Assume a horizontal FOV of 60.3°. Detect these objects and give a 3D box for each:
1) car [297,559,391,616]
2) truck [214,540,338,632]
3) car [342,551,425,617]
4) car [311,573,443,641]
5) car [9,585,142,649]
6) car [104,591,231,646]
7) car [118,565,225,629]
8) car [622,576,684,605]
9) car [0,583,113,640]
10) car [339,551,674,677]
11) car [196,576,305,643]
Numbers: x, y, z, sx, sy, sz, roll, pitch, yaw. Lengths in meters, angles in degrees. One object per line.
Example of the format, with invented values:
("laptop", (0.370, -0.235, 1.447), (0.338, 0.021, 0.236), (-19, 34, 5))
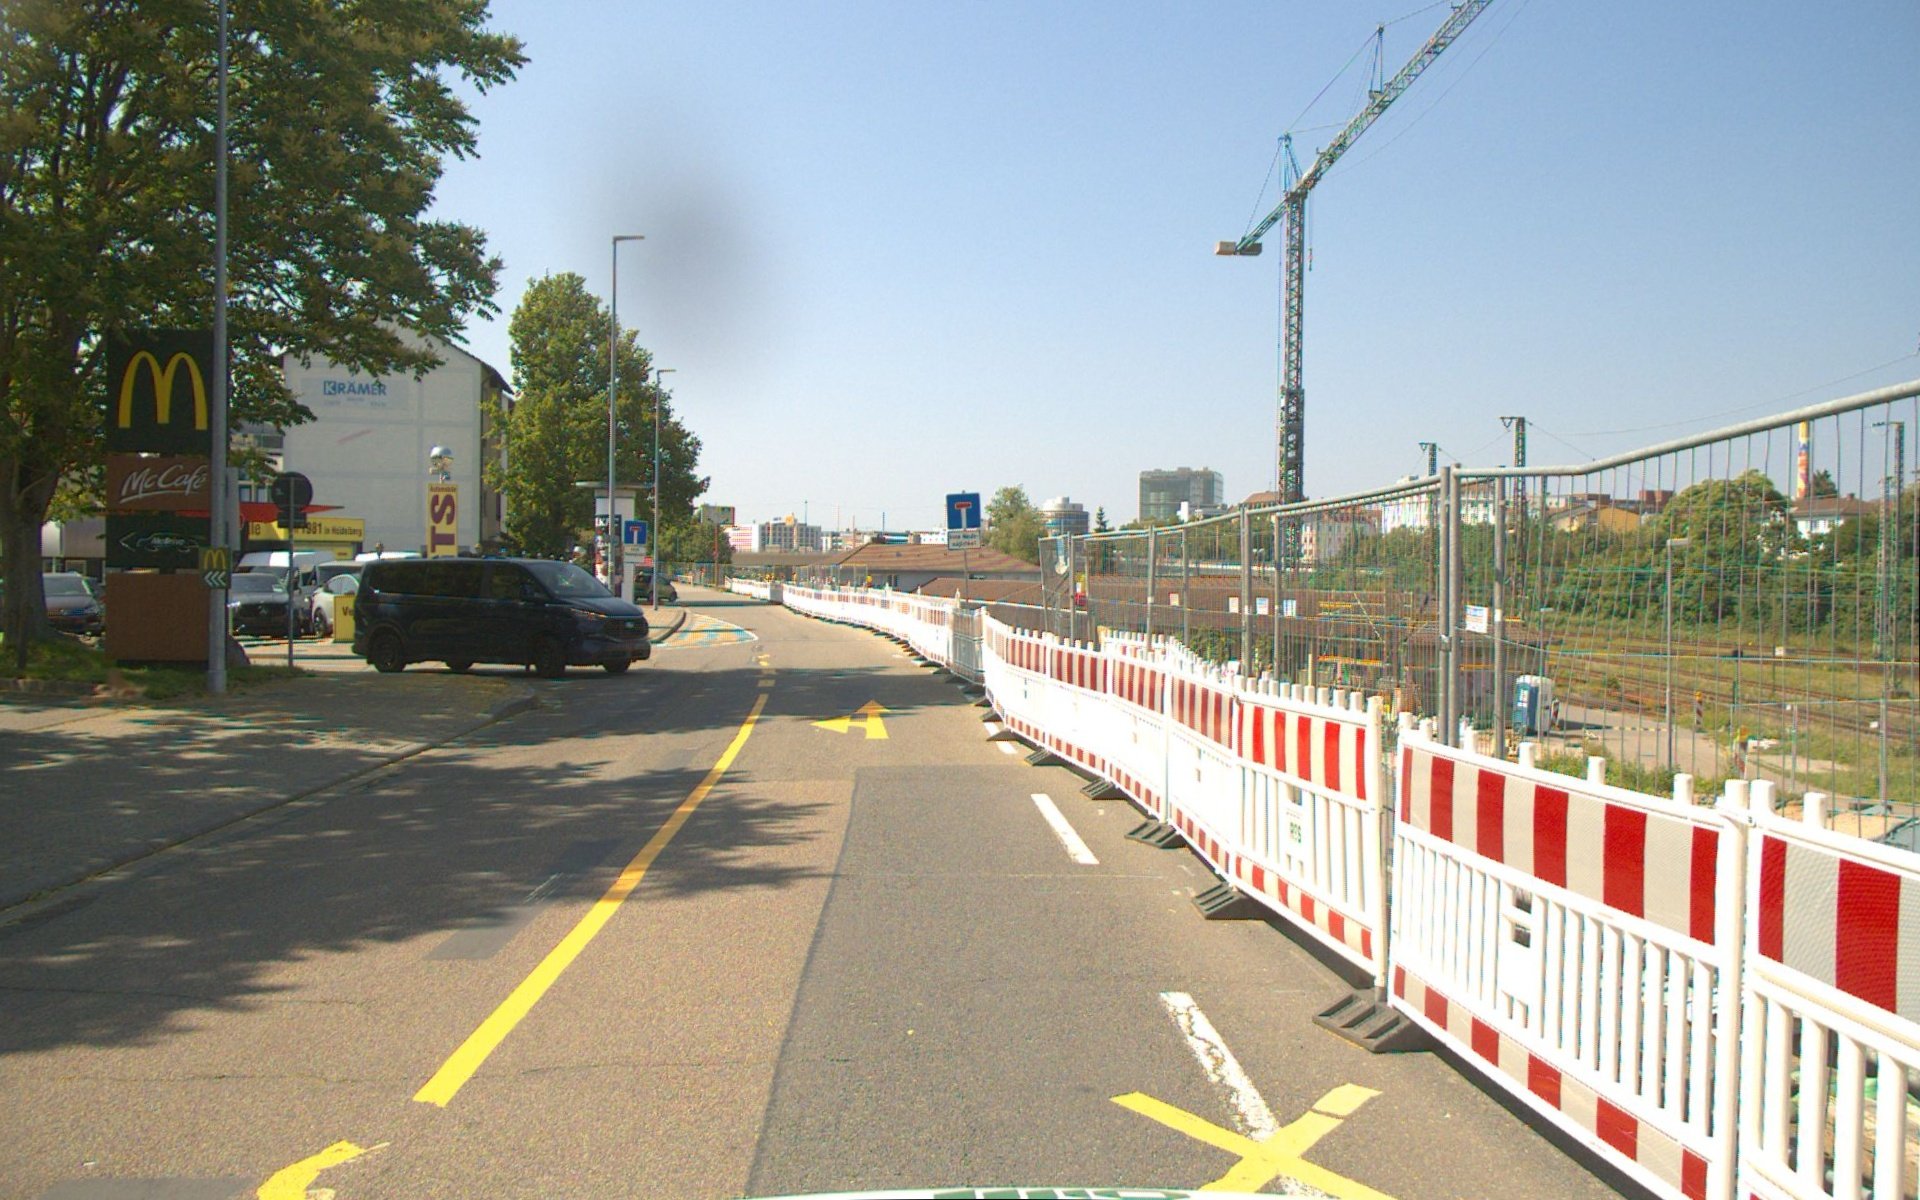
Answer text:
("car", (-20.473, -0.421, 55.149), (1.841, 1.768, 4.715), (2, 0, -7))
("truck", (-23.584, -0.466, 57.299), (2.225, 2.954, 5.937), (2, 0, -5))
("car", (-21.254, -0.579, 61.132), (2.096, 2.324, 4.701), (1, 0, -9))
("car", (-15.746, 0.175, 44.585), (1.983, 1.756, 3.938), (1, 0, -42))
("car", (-22.712, 0.416, 42.611), (1.755, 1.536, 3.992), (1, 0, -9))
("car", (-23.151, 0.525, 48.483), (1.751, 1.513, 4.000), (1, 0, 0))
("car", (-26.735, -0.092, 56.244), (1.956, 2.049, 4.488), (1, 0, -8))
("car", (-18.252, -0.556, 98.342), (1.695, 1.666, 3.263), (1, 0, 41))
("car", (-27.078, 0.322, 47.721), (1.966, 1.613, 4.305), (1, 0, 44))
("car", (-7.765, 0.239, 28.275), (5.317, 2.002, 2.183), (-1, 1, 24))
("car", (-18.251, 0.232, 42.461), (2.026, 1.622, 4.377), (1, 0, -31))
